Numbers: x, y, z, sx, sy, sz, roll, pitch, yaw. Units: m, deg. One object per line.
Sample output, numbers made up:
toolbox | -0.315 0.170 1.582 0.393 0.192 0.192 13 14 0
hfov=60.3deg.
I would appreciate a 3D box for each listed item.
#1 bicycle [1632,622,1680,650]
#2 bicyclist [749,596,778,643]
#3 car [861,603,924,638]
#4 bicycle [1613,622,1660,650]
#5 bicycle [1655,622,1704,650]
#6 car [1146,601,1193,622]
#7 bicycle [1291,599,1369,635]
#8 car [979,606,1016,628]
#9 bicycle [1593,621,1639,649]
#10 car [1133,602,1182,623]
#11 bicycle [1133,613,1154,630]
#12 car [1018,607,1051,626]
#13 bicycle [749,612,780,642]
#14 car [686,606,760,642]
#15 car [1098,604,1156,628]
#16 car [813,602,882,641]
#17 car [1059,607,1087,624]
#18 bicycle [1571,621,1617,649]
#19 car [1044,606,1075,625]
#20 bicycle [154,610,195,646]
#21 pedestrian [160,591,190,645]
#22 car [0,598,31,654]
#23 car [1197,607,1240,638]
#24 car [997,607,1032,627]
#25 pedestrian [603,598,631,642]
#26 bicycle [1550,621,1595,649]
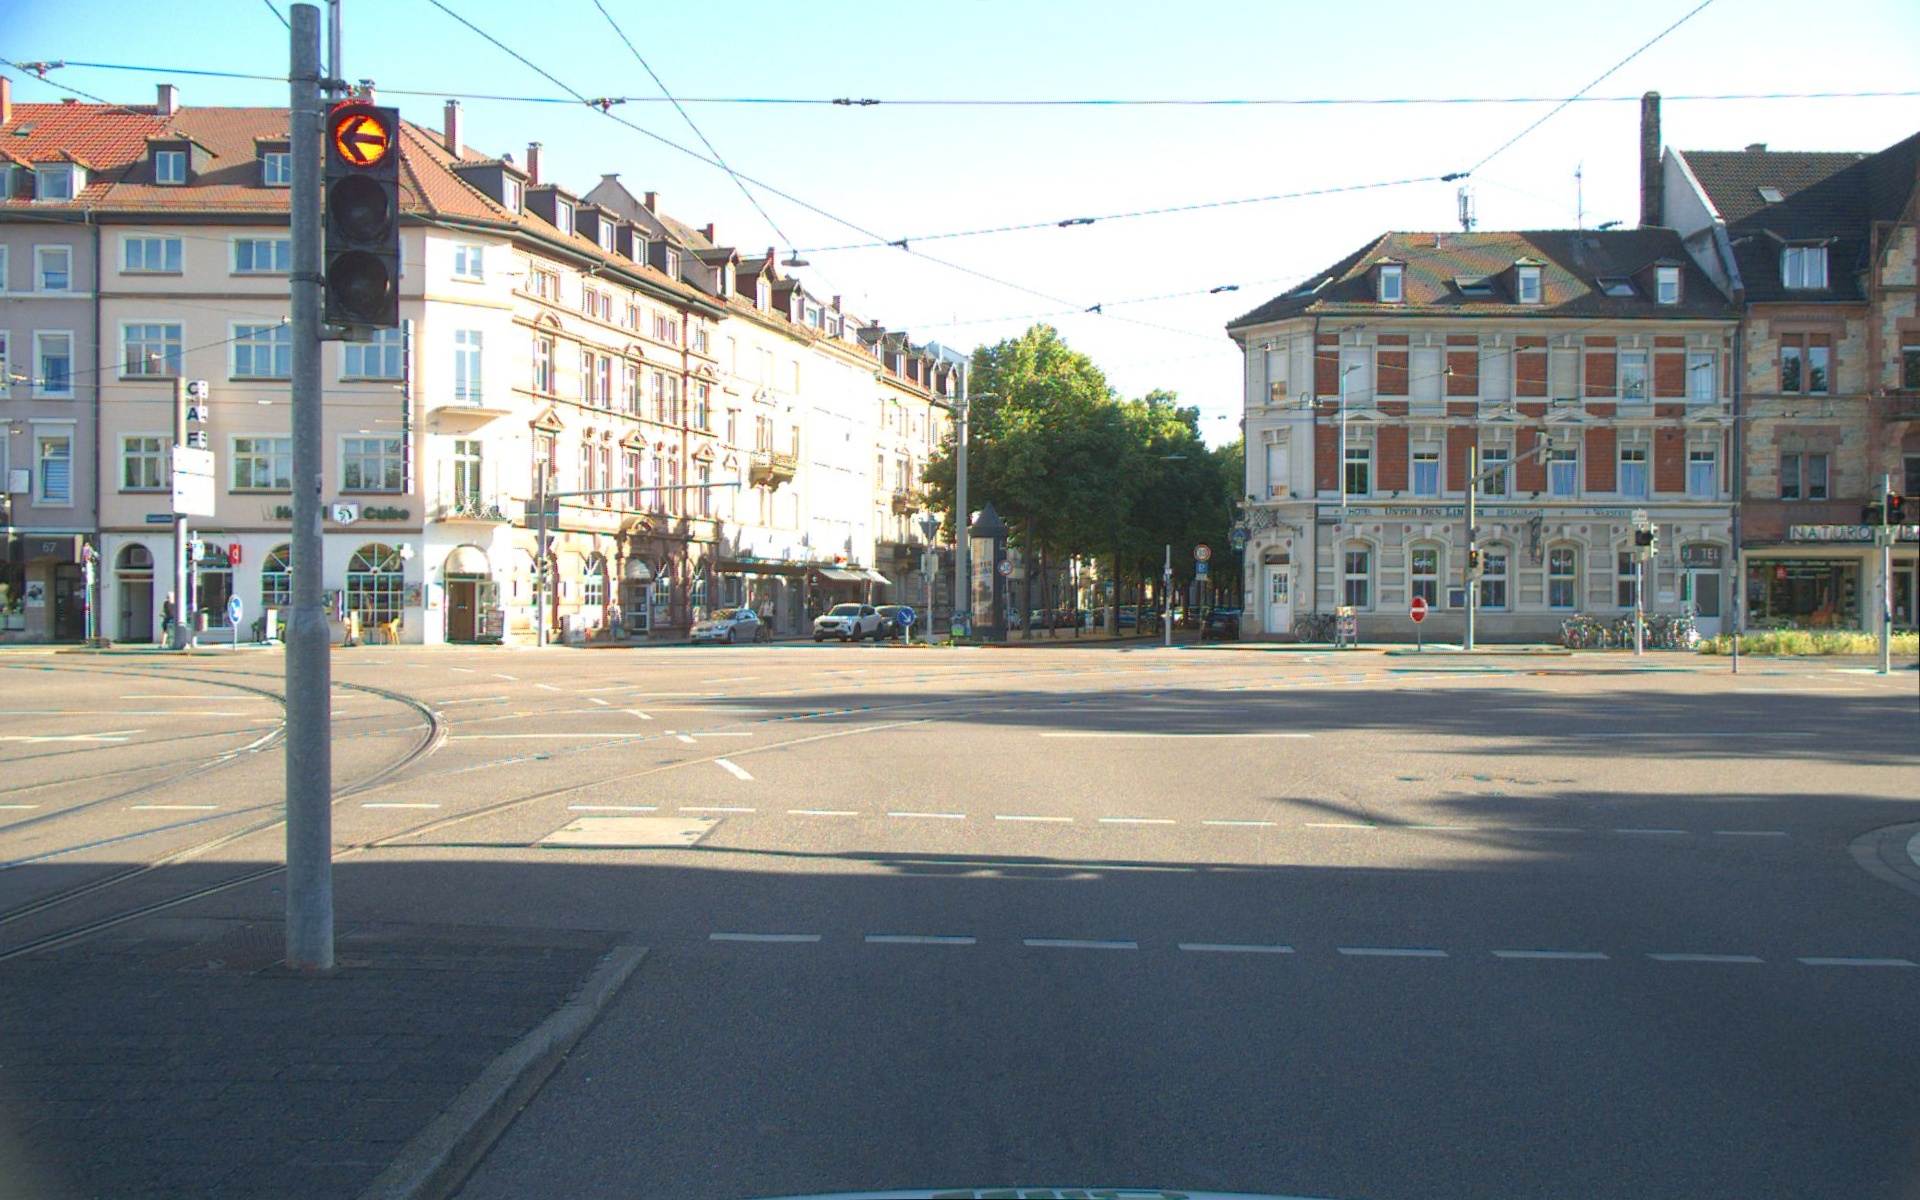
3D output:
bicycle | 22.486 1.156 53.484 0.645 0.855 2.160 1 0 0
bicyclist | -7.720 0.766 65.005 0.761 1.834 1.056 1 -1 13
car | -2.954 0.887 73.553 1.642 1.509 3.950 0 0 16
bicycle | 21.858 1.145 53.504 0.645 0.855 2.160 1 0 0
bicycle | 23.274 1.169 53.530 0.645 0.855 2.160 1 0 0
car | 16.932 0.886 133.748 3.503 1.677 1.684 0 0 16
bicycle | 12.861 0.589 57.459 2.504 1.194 0.818 1 -1 -4
car | 2.556 1.140 111.341 1.642 1.378 3.593 0 0 16
bicycle | 21.187 1.133 53.471 0.645 0.855 2.160 1 0 0
car | 15.310 0.961 128.249 3.503 1.677 1.684 0 0 16
bicycle | 11.044 1.297 99.629 0.625 1.039 1.840 1 0 -14
car | 5.524 1.201 122.503 1.642 1.378 3.593 0 0 16
bicycle | -7.686 1.047 65.127 0.687 1.137 1.636 1 0 13
car | -9.546 0.933 66.746 1.642 1.378 3.593 0 0 16
car | 11.706 1.117 115.836 3.819 1.677 1.684 0 0 16
car | -4.541 0.843 67.227 1.642 1.509 3.774 0 0 16
car | 9.308 1.252 135.897 1.642 1.378 3.593 0 0 16
bicycle | 20.475 1.121 53.457 0.645 0.855 2.160 1 0 0
car | 7.883 1.215 130.845 1.642 1.378 3.593 0 0 16
bicycle | -24.699 0.866 52.007 0.561 1.096 1.497 1 0 -1
pedestrian | -24.696 0.566 52.055 0.570 1.699 0.752 1 -1 -1
car | -32.157 0.789 52.256 4.276 1.741 2.306 1 0 1
car | 12.952 1.107 82.751 1.642 1.509 3.950 0 0 16
car | 3.813 1.159 115.516 1.642 1.378 3.593 0 0 16
pedestrian | -13.420 0.777 64.693 0.759 1.699 0.831 1 -1 15
bicycle | 19.756 1.108 53.370 0.645 0.855 2.160 1 0 0
